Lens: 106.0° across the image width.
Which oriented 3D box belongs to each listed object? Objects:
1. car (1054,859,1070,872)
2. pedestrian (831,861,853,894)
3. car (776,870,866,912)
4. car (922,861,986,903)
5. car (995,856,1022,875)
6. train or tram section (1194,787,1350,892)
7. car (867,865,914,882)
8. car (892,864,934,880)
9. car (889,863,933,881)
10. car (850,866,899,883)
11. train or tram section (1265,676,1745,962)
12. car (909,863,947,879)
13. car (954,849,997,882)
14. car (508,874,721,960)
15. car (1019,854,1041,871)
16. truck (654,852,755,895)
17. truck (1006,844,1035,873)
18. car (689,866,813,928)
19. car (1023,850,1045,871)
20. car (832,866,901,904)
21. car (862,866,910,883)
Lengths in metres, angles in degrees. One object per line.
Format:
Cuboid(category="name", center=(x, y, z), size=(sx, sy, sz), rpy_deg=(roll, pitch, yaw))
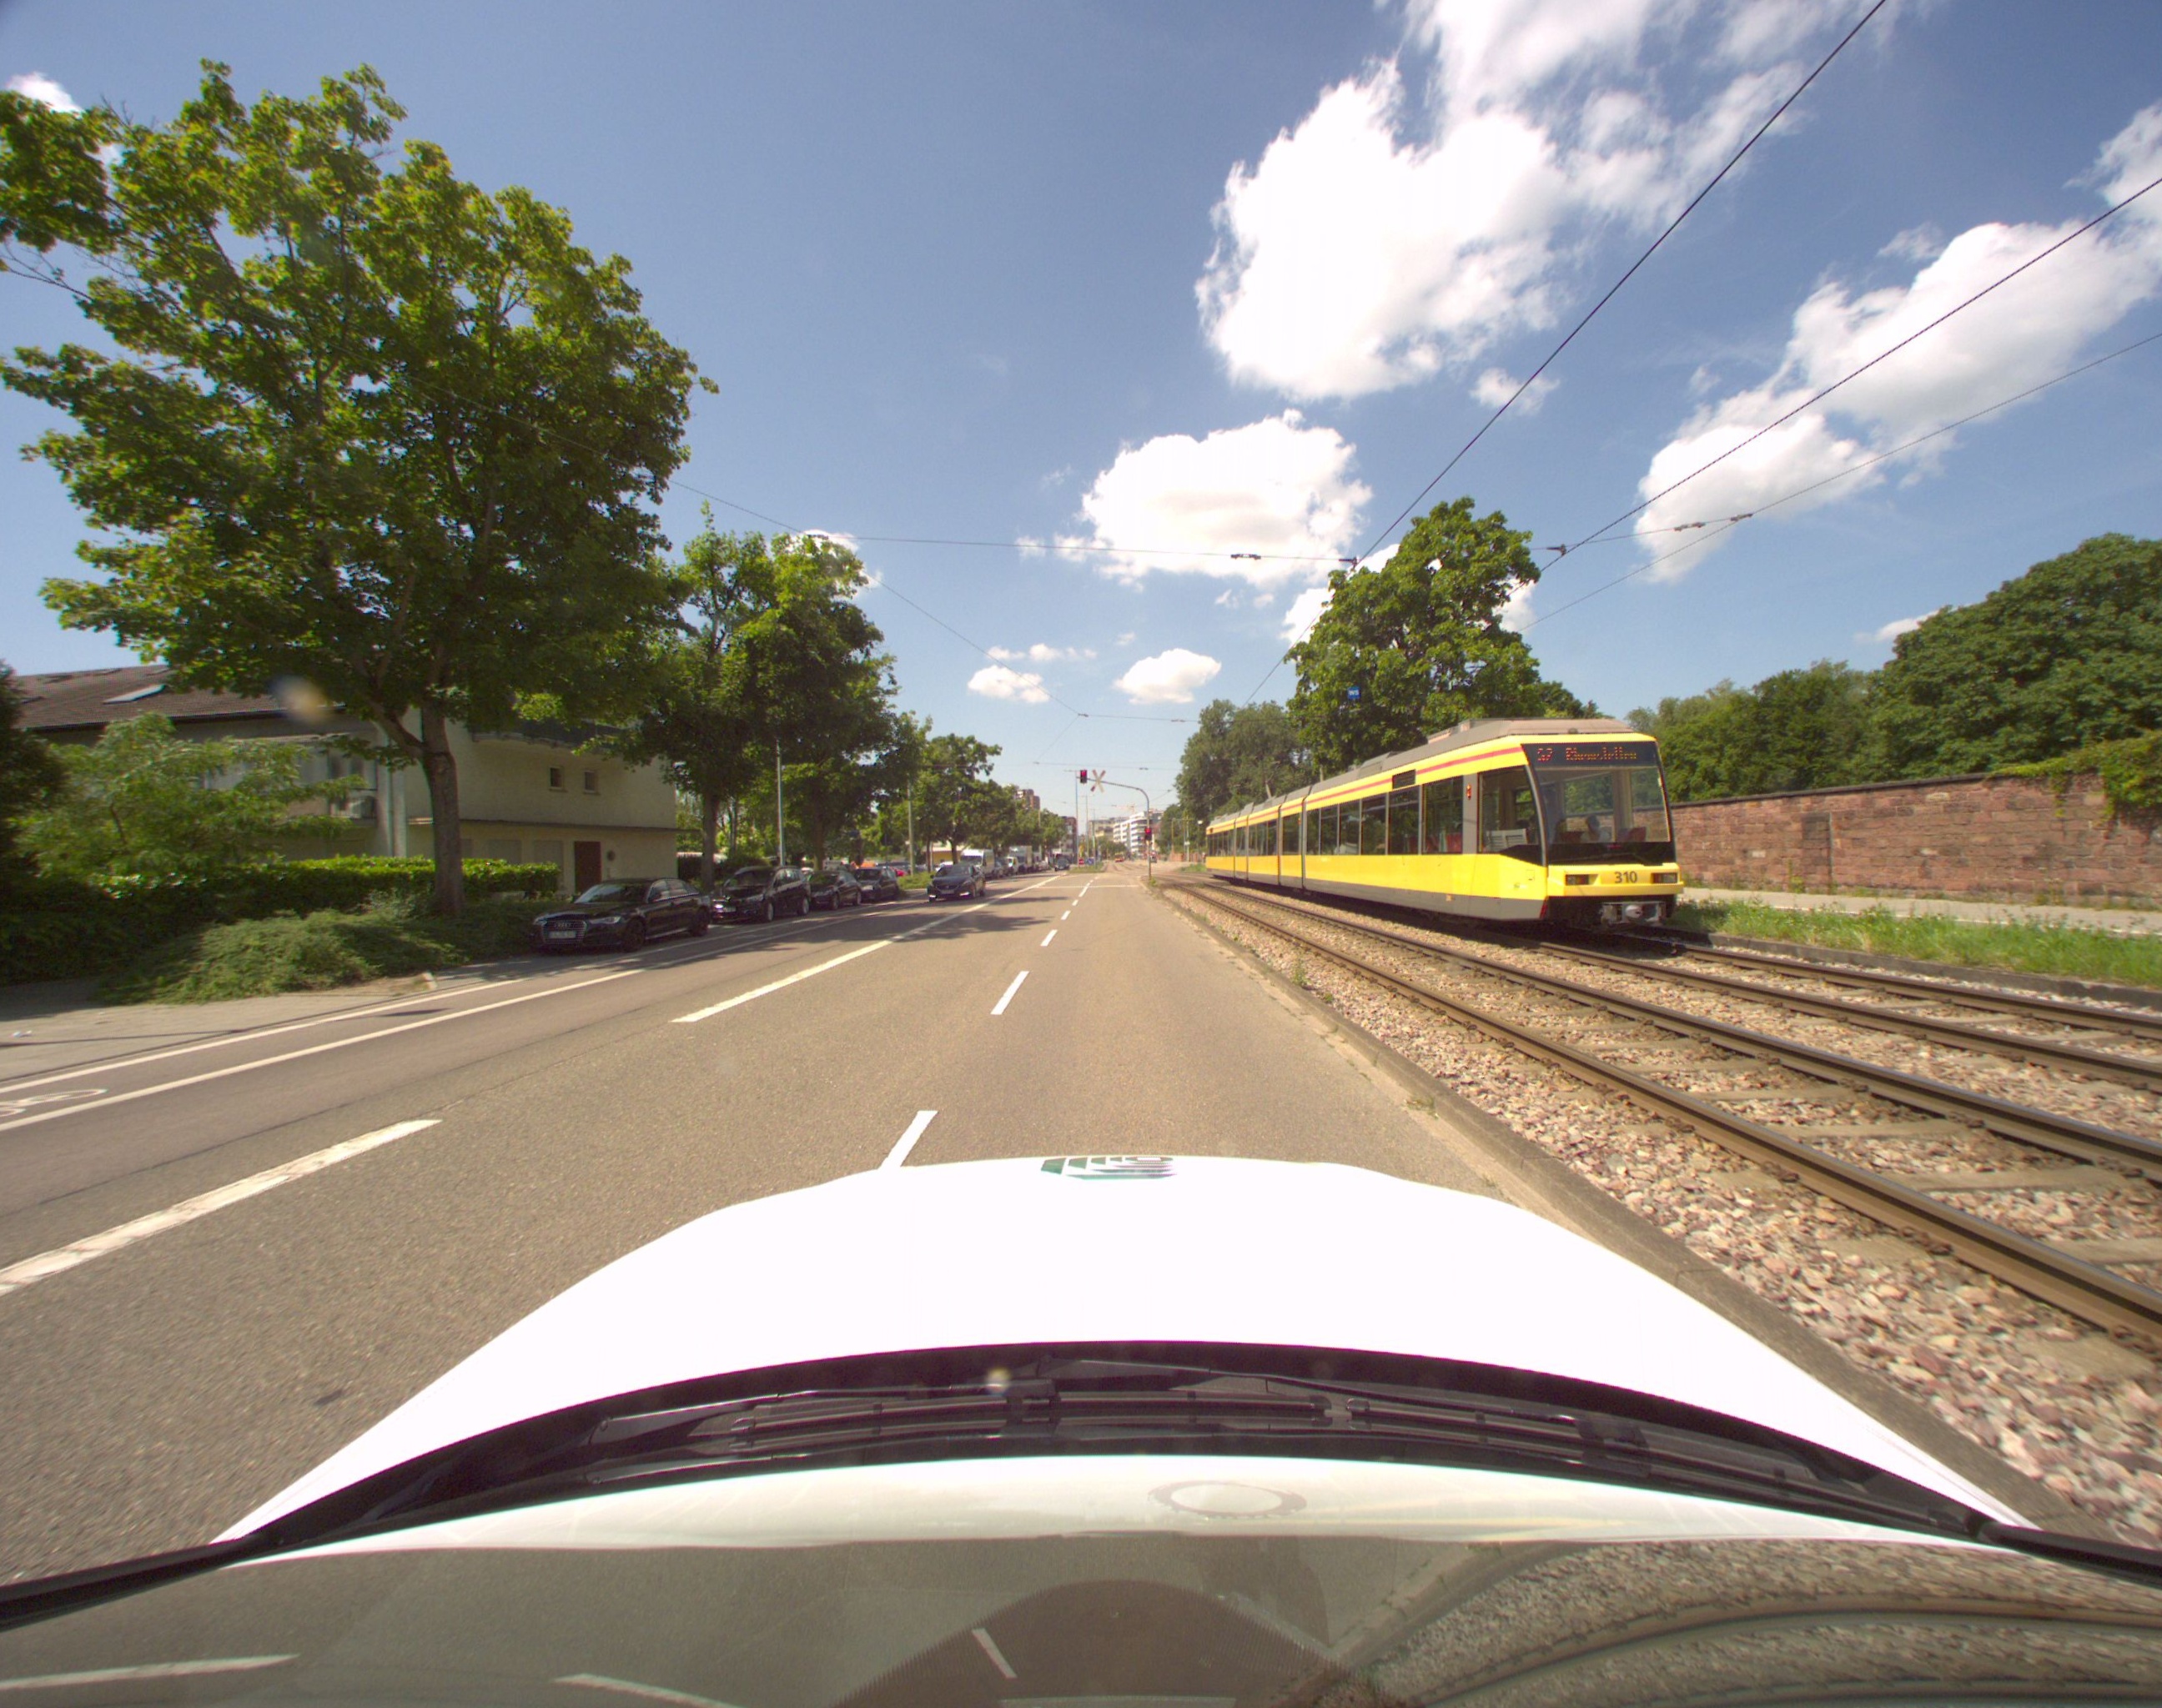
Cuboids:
Cuboid(category="car", center=(-2.315, 1.373, 100.011), size=(1.672, 1.398, 4.006), rpy_deg=(-4, 0, 1))
Cuboid(category="pedestrian", center=(-13.674, 1.351, 46.589), size=(0.971, 1.823, 0.794), rpy_deg=(-2, 0, -1))
Cuboid(category="car", center=(-9.495, 1.309, 30.179), size=(1.769, 1.373, 4.697), rpy_deg=(0, 0, 0))
Cuboid(category="car", center=(-5.015, 1.081, 32.637), size=(1.769, 1.460, 4.195), rpy_deg=(-3, 0, 0))
Cuboid(category="car", center=(-7.518, 1.150, 84.723), size=(2.052, 1.898, 4.874), rpy_deg=(-2, 0, 3))
Cuboid(category="train or tram section", center=(8.234, -0.511, 39.183), size=(2.933, 3.692, 20.284), rpy_deg=(-1, 0, 1))
Cuboid(category="car", center=(-18.471, 1.863, 79.095), size=(3.972, 1.442, 1.806), rpy_deg=(-2, 0, 1))
Cuboid(category="car", center=(-17.843, 1.909, 86.718), size=(3.973, 1.606, 1.805), rpy_deg=(-2, 0, 1))
Cuboid(category="car", center=(-17.200, 1.845, 82.417), size=(3.973, 1.606, 1.805), rpy_deg=(-2, 0, 1))
Cuboid(category="car", center=(-18.873, 1.890, 74.510), size=(3.973, 1.339, 1.805), rpy_deg=(-2, 0, 1))
Cuboid(category="train or tram section", center=(7.593, -0.453, 19.824), size=(2.931, 3.692, 18.402), rpy_deg=(-1, 0, 3))
Cuboid(category="car", center=(-17.819, 1.977, 94.704), size=(3.973, 1.606, 1.805), rpy_deg=(-2, 0, 1))
Cuboid(category="car", center=(-8.314, 0.904, 64.996), size=(2.147, 2.487, 6.200), rpy_deg=(-1, 0, 4))
Cuboid(category="car", center=(-9.759, 1.229, 17.586), size=(1.769, 1.455, 4.804), rpy_deg=(-2, 0, 0))
Cuboid(category="car", center=(-6.200, 1.063, 100.009), size=(2.052, 1.977, 4.874), rpy_deg=(-2, 0, 3))
Cuboid(category="truck", center=(-31.116, 1.566, 67.419), size=(7.164, 3.228, 2.332), rpy_deg=(-2, 0, -1))
Cuboid(category="truck", center=(-6.857, 0.501, 93.085), size=(2.147, 3.210, 7.091), rpy_deg=(1, 0, 4))
Cuboid(category="car", center=(-9.716, 1.198, 24.439), size=(1.769, 1.604, 4.637), rpy_deg=(-1, 0, 0))
Cuboid(category="car", center=(-6.163, 0.833, 108.312), size=(2.147, 2.639, 5.618), rpy_deg=(0, 0, 4))
Cuboid(category="car", center=(-9.159, 1.272, 35.050), size=(1.768, 1.481, 4.049), rpy_deg=(0, 0, 2))
Cuboid(category="car", center=(-18.412, 1.928, 77.061), size=(3.973, 1.339, 1.805), rpy_deg=(-2, 0, 1))
